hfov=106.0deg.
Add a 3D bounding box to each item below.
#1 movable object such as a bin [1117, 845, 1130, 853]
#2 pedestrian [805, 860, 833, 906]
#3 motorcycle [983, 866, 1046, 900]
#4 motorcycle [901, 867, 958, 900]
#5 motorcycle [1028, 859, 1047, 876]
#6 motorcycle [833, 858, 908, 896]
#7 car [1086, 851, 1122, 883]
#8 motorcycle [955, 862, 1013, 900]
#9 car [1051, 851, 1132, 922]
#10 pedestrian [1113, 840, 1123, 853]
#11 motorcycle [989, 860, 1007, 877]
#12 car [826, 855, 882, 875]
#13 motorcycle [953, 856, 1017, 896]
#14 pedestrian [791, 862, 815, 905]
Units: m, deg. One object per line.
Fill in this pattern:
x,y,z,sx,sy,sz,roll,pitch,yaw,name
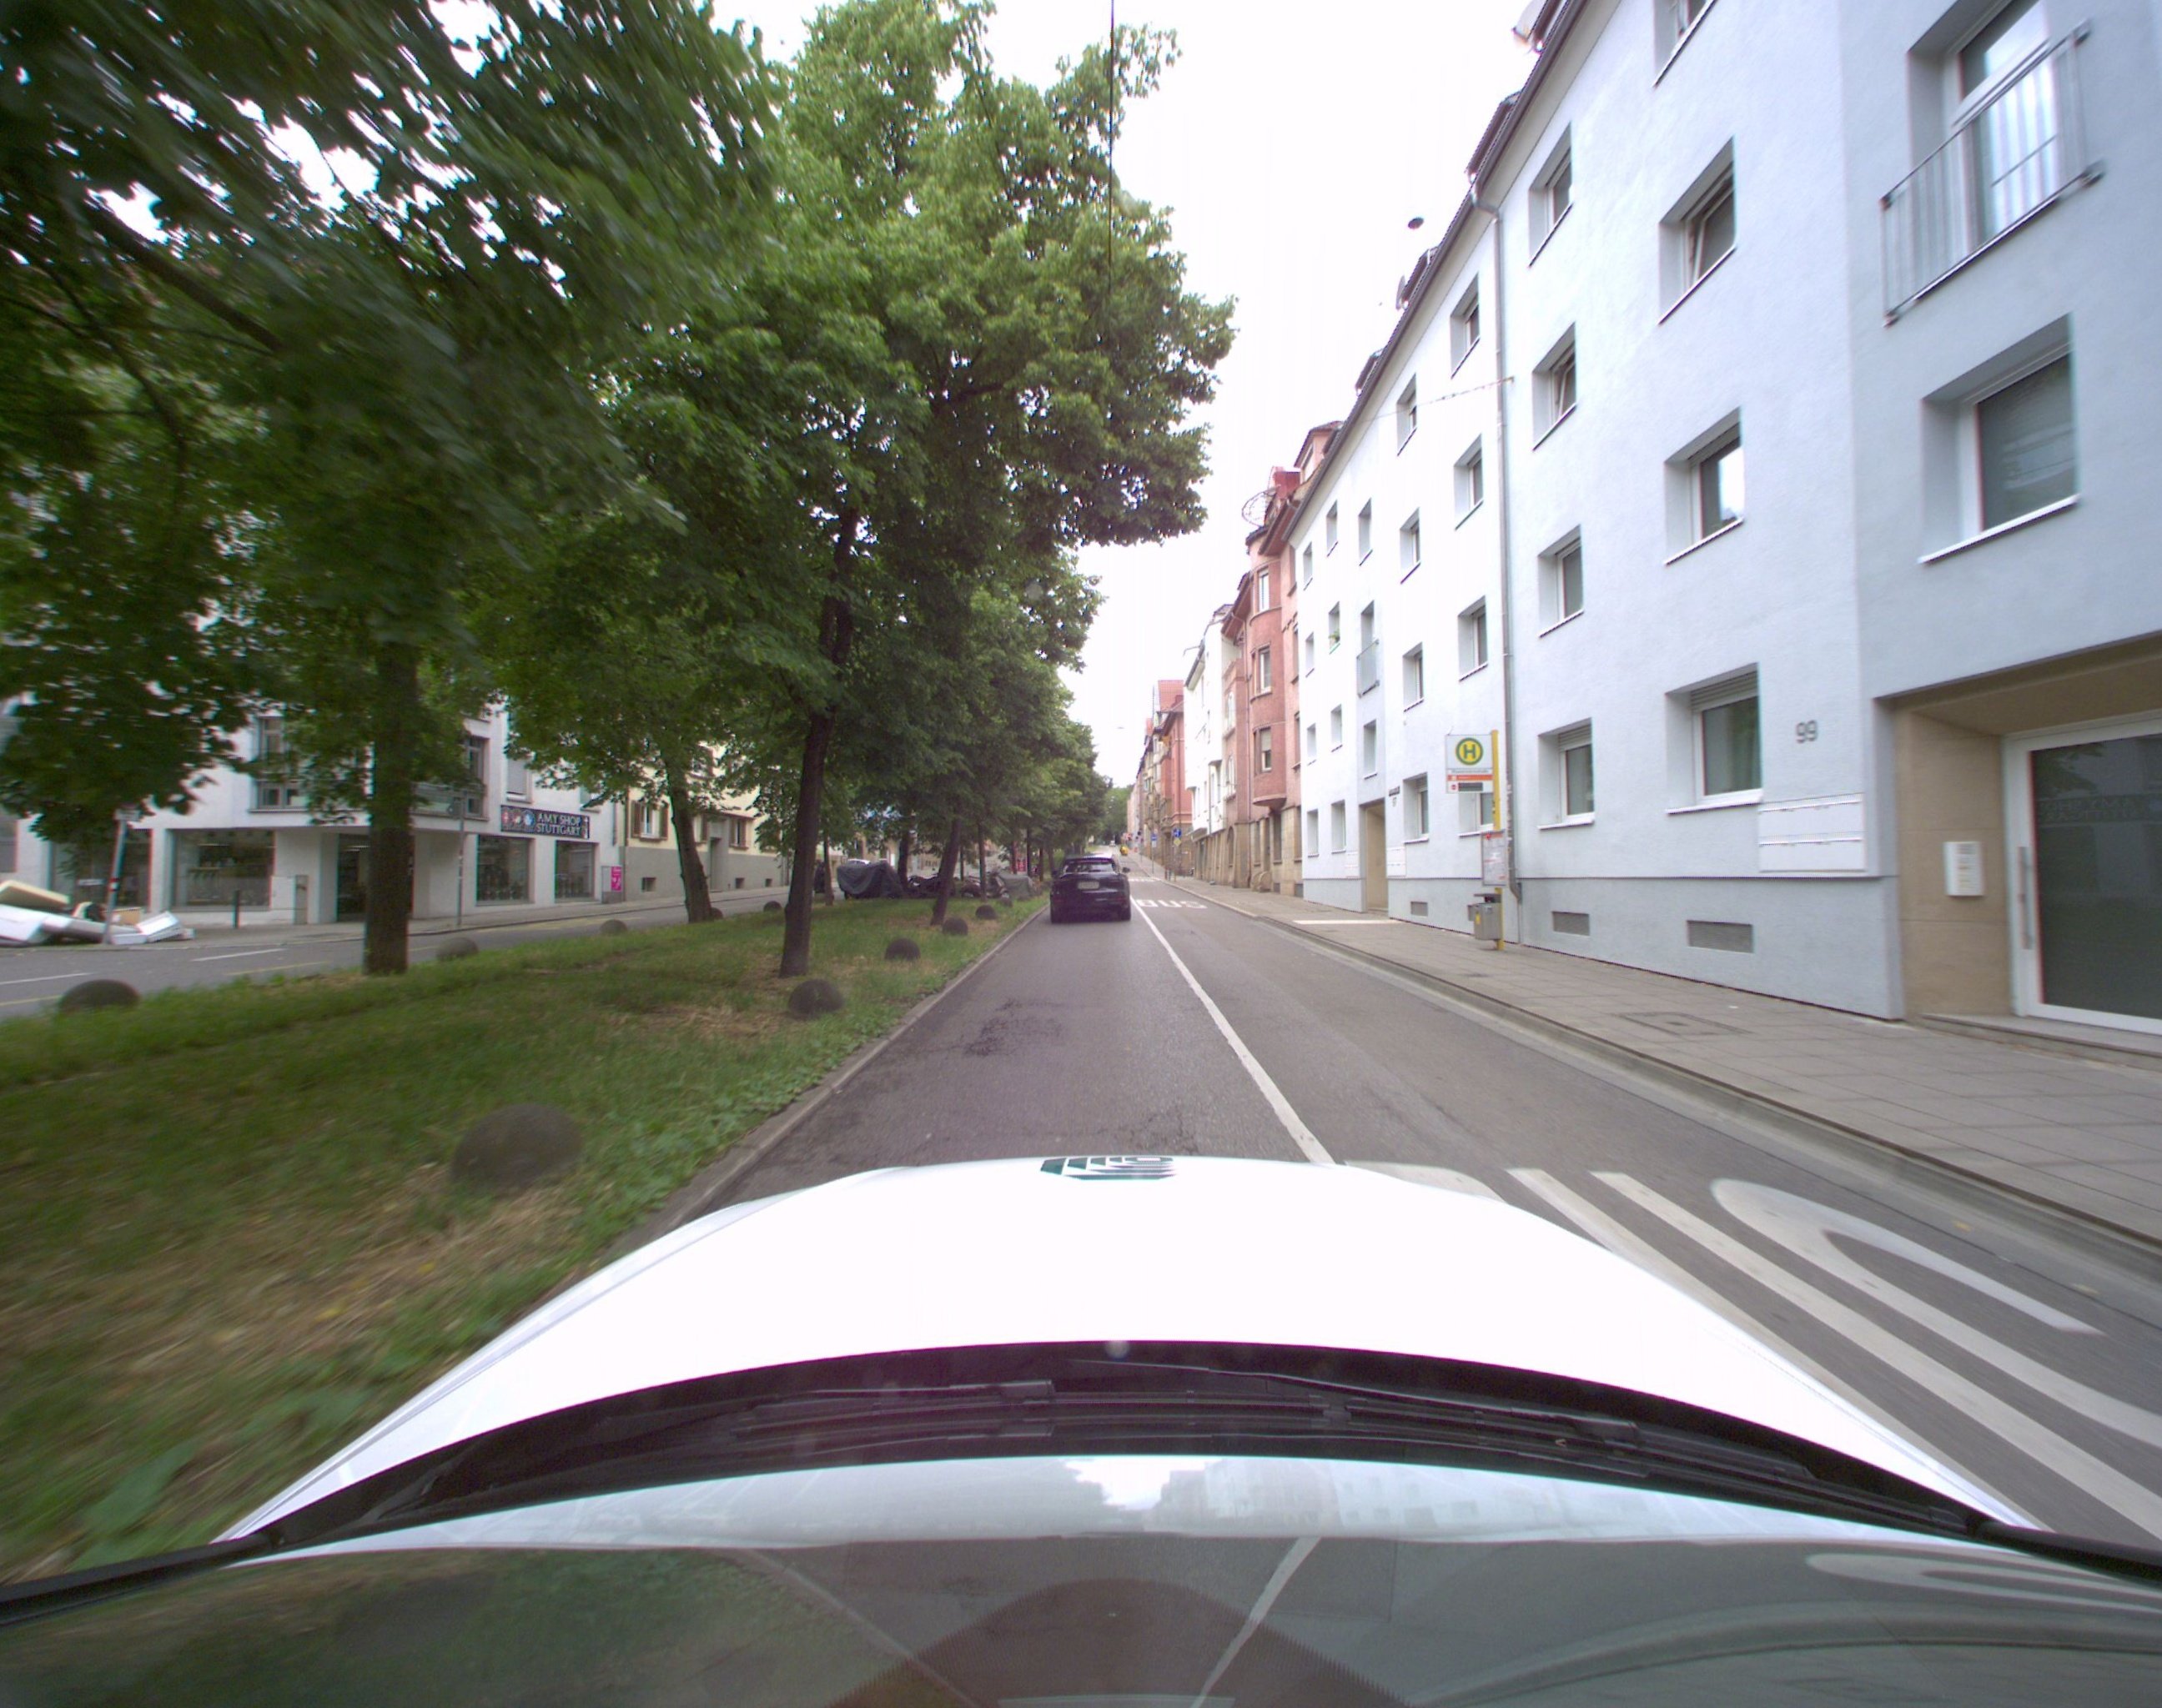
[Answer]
7.007,-0.886,135.202,1.247,1.274,1.825,0,0,-39,movable object such as a bin
-9.594,1.050,29.889,0.629,1.613,0.768,0,0,19,pedestrian
-2.570,1.124,31.745,2.348,1.235,1.033,0,1,0,motorcycle
-6.010,1.168,32.293,2.018,1.235,0.898,-1,0,6,motorcycle
-3.018,0.909,56.227,1.058,1.148,2.449,-1,0,2,motorcycle
-7.472,0.815,29.013,2.374,1.317,1.045,0,0,0,motorcycle
1.325,0.731,47.079,1.986,1.753,4.002,0,0,2,car
-3.446,0.965,28.992,1.918,1.297,0.893,-1,-2,-1,motorcycle
0.262,0.765,21.261,1.897,1.666,4.135,0,0,0,car
6.187,-1.246,136.173,1.310,2.014,1.009,0,0,-34,pedestrian
-5.682,1.007,56.147,0.897,1.107,2.252,-1,-2,2,motorcycle
-18.710,0.893,67.168,3.972,1.497,2.001,-1,0,1,car
-3.491,0.777,29.794,2.184,1.438,0.875,0,0,3,motorcycle
-10.566,1.101,30.962,0.660,1.616,0.580,0,0,3,pedestrian
